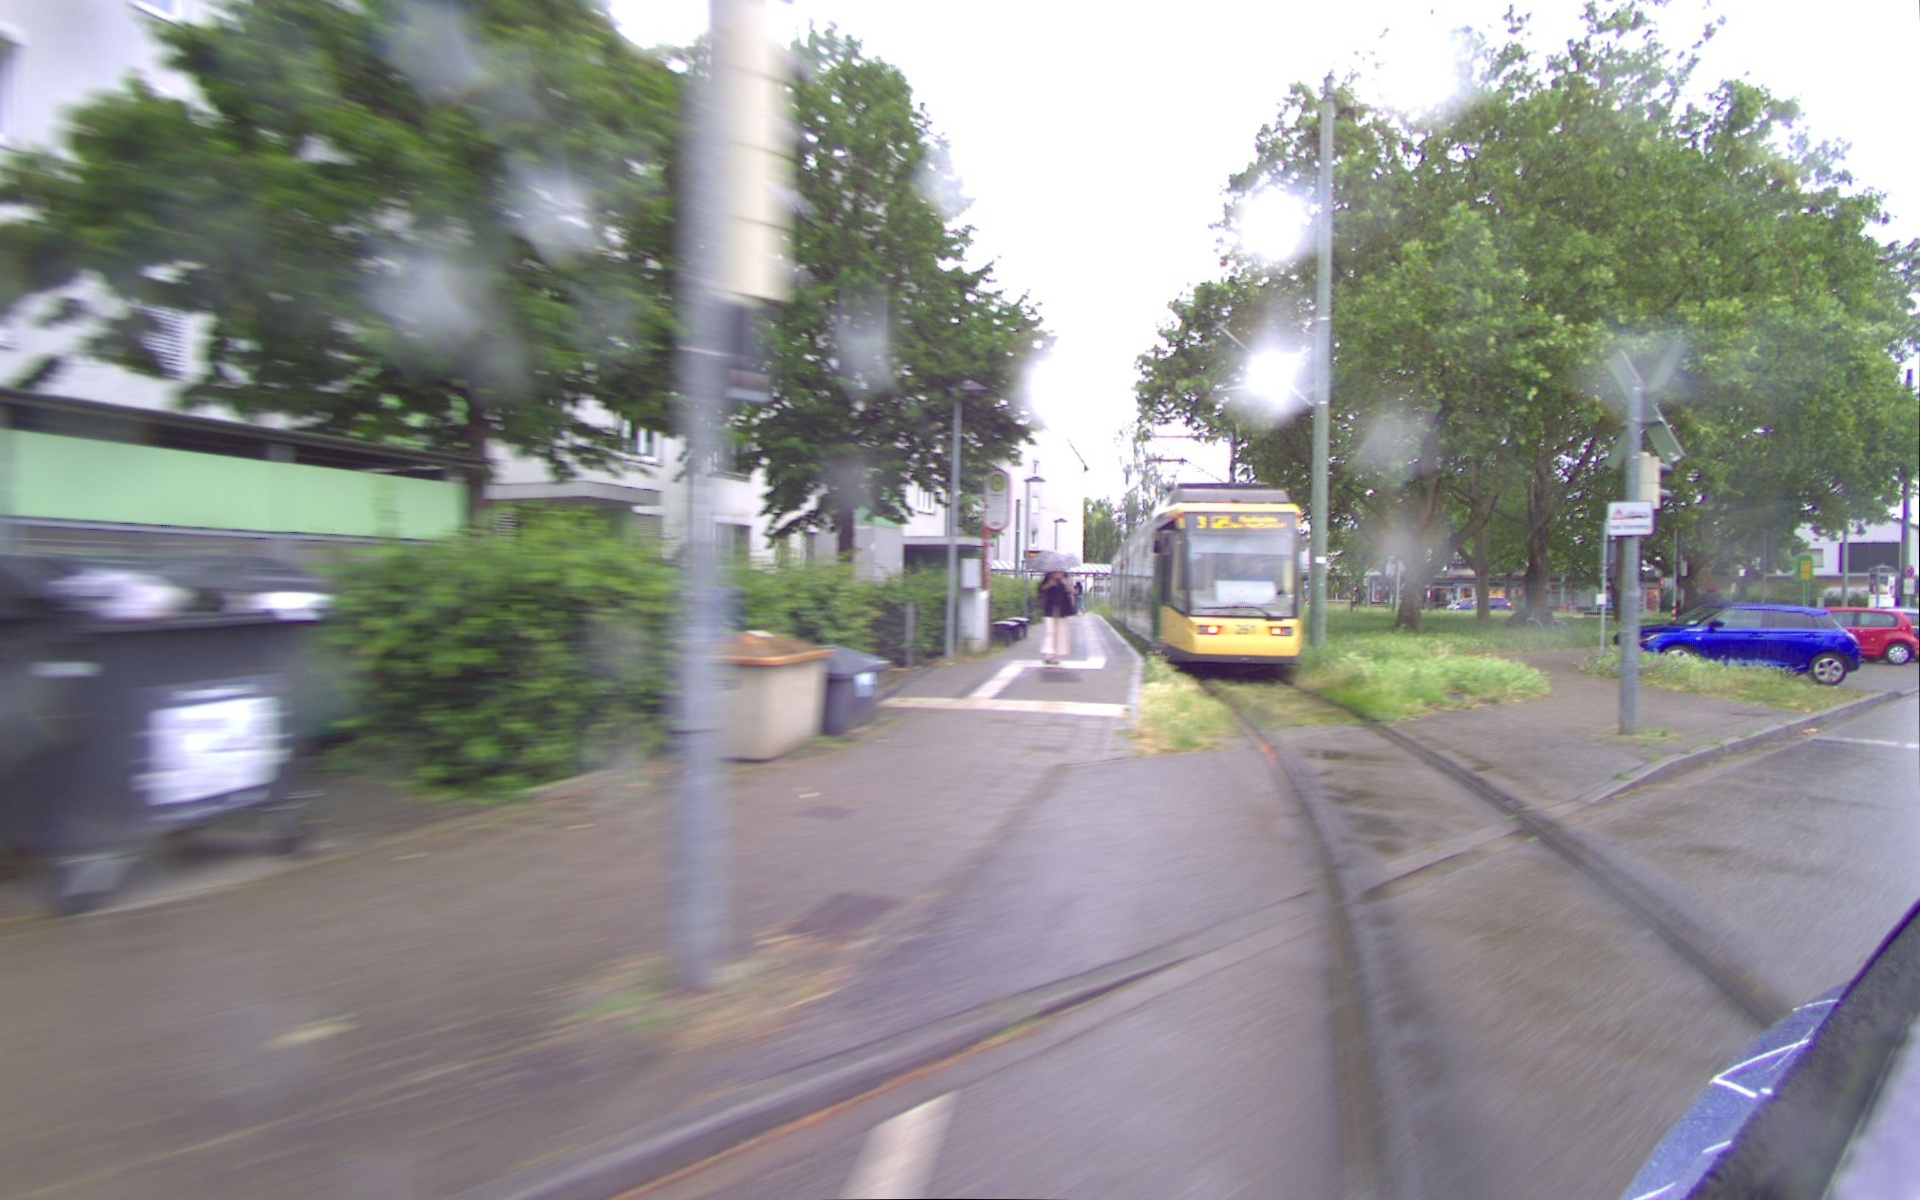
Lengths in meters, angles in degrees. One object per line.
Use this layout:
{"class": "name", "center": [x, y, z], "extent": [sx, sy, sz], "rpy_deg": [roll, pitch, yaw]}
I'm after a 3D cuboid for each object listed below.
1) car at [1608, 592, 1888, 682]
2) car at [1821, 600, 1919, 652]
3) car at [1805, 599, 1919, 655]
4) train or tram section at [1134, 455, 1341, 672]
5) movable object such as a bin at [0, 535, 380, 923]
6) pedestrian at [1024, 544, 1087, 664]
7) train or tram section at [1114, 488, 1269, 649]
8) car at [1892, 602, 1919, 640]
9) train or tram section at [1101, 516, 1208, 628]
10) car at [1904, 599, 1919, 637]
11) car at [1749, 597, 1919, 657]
{"class": "car", "center": [15.319, 0.671, 19.941], "extent": [3.947, 1.546, 1.710], "rpy_deg": [1, 1, 18]}
{"class": "car", "center": [29.659, 0.828, 31.765], "extent": [3.668, 1.502, 1.605], "rpy_deg": [2, 1, 25]}
{"class": "car", "center": [27.317, 0.790, 29.573], "extent": [3.668, 1.502, 1.605], "rpy_deg": [2, 1, 25]}
{"class": "train or tram section", "center": [4.922, -0.655, 19.222], "extent": [2.710, 3.381, 6.391], "rpy_deg": [1, 1, 6]}
{"class": "movable object such as a bin", "center": [-3.718, 0.462, 4.655], "extent": [1.134, 1.458, 1.472], "rpy_deg": [1, 1, 11]}
{"class": "pedestrian", "center": [1.484, 0.045, 15.852], "extent": [0.848, 1.797, 1.019], "rpy_deg": [1, 1, 0]}
{"class": "train or tram section", "center": [5.732, -0.784, 26.829], "extent": [2.710, 3.381, 10.336], "rpy_deg": [1, 1, 6]}
{"class": "car", "center": [39.237, 0.873, 39.628], "extent": [3.668, 1.434, 1.605], "rpy_deg": [2, 1, 25]}
{"class": "train or tram section", "center": [6.670, -0.974, 36.121], "extent": [2.709, 3.381, 10.337], "rpy_deg": [1, 1, 6]}
{"class": "car", "center": [41.564, 0.808, 41.587], "extent": [3.668, 1.541, 1.605], "rpy_deg": [2, 1, 25]}
{"class": "car", "center": [24.029, 0.705, 27.663], "extent": [3.539, 1.477, 1.606], "rpy_deg": [2, 1, 24]}
